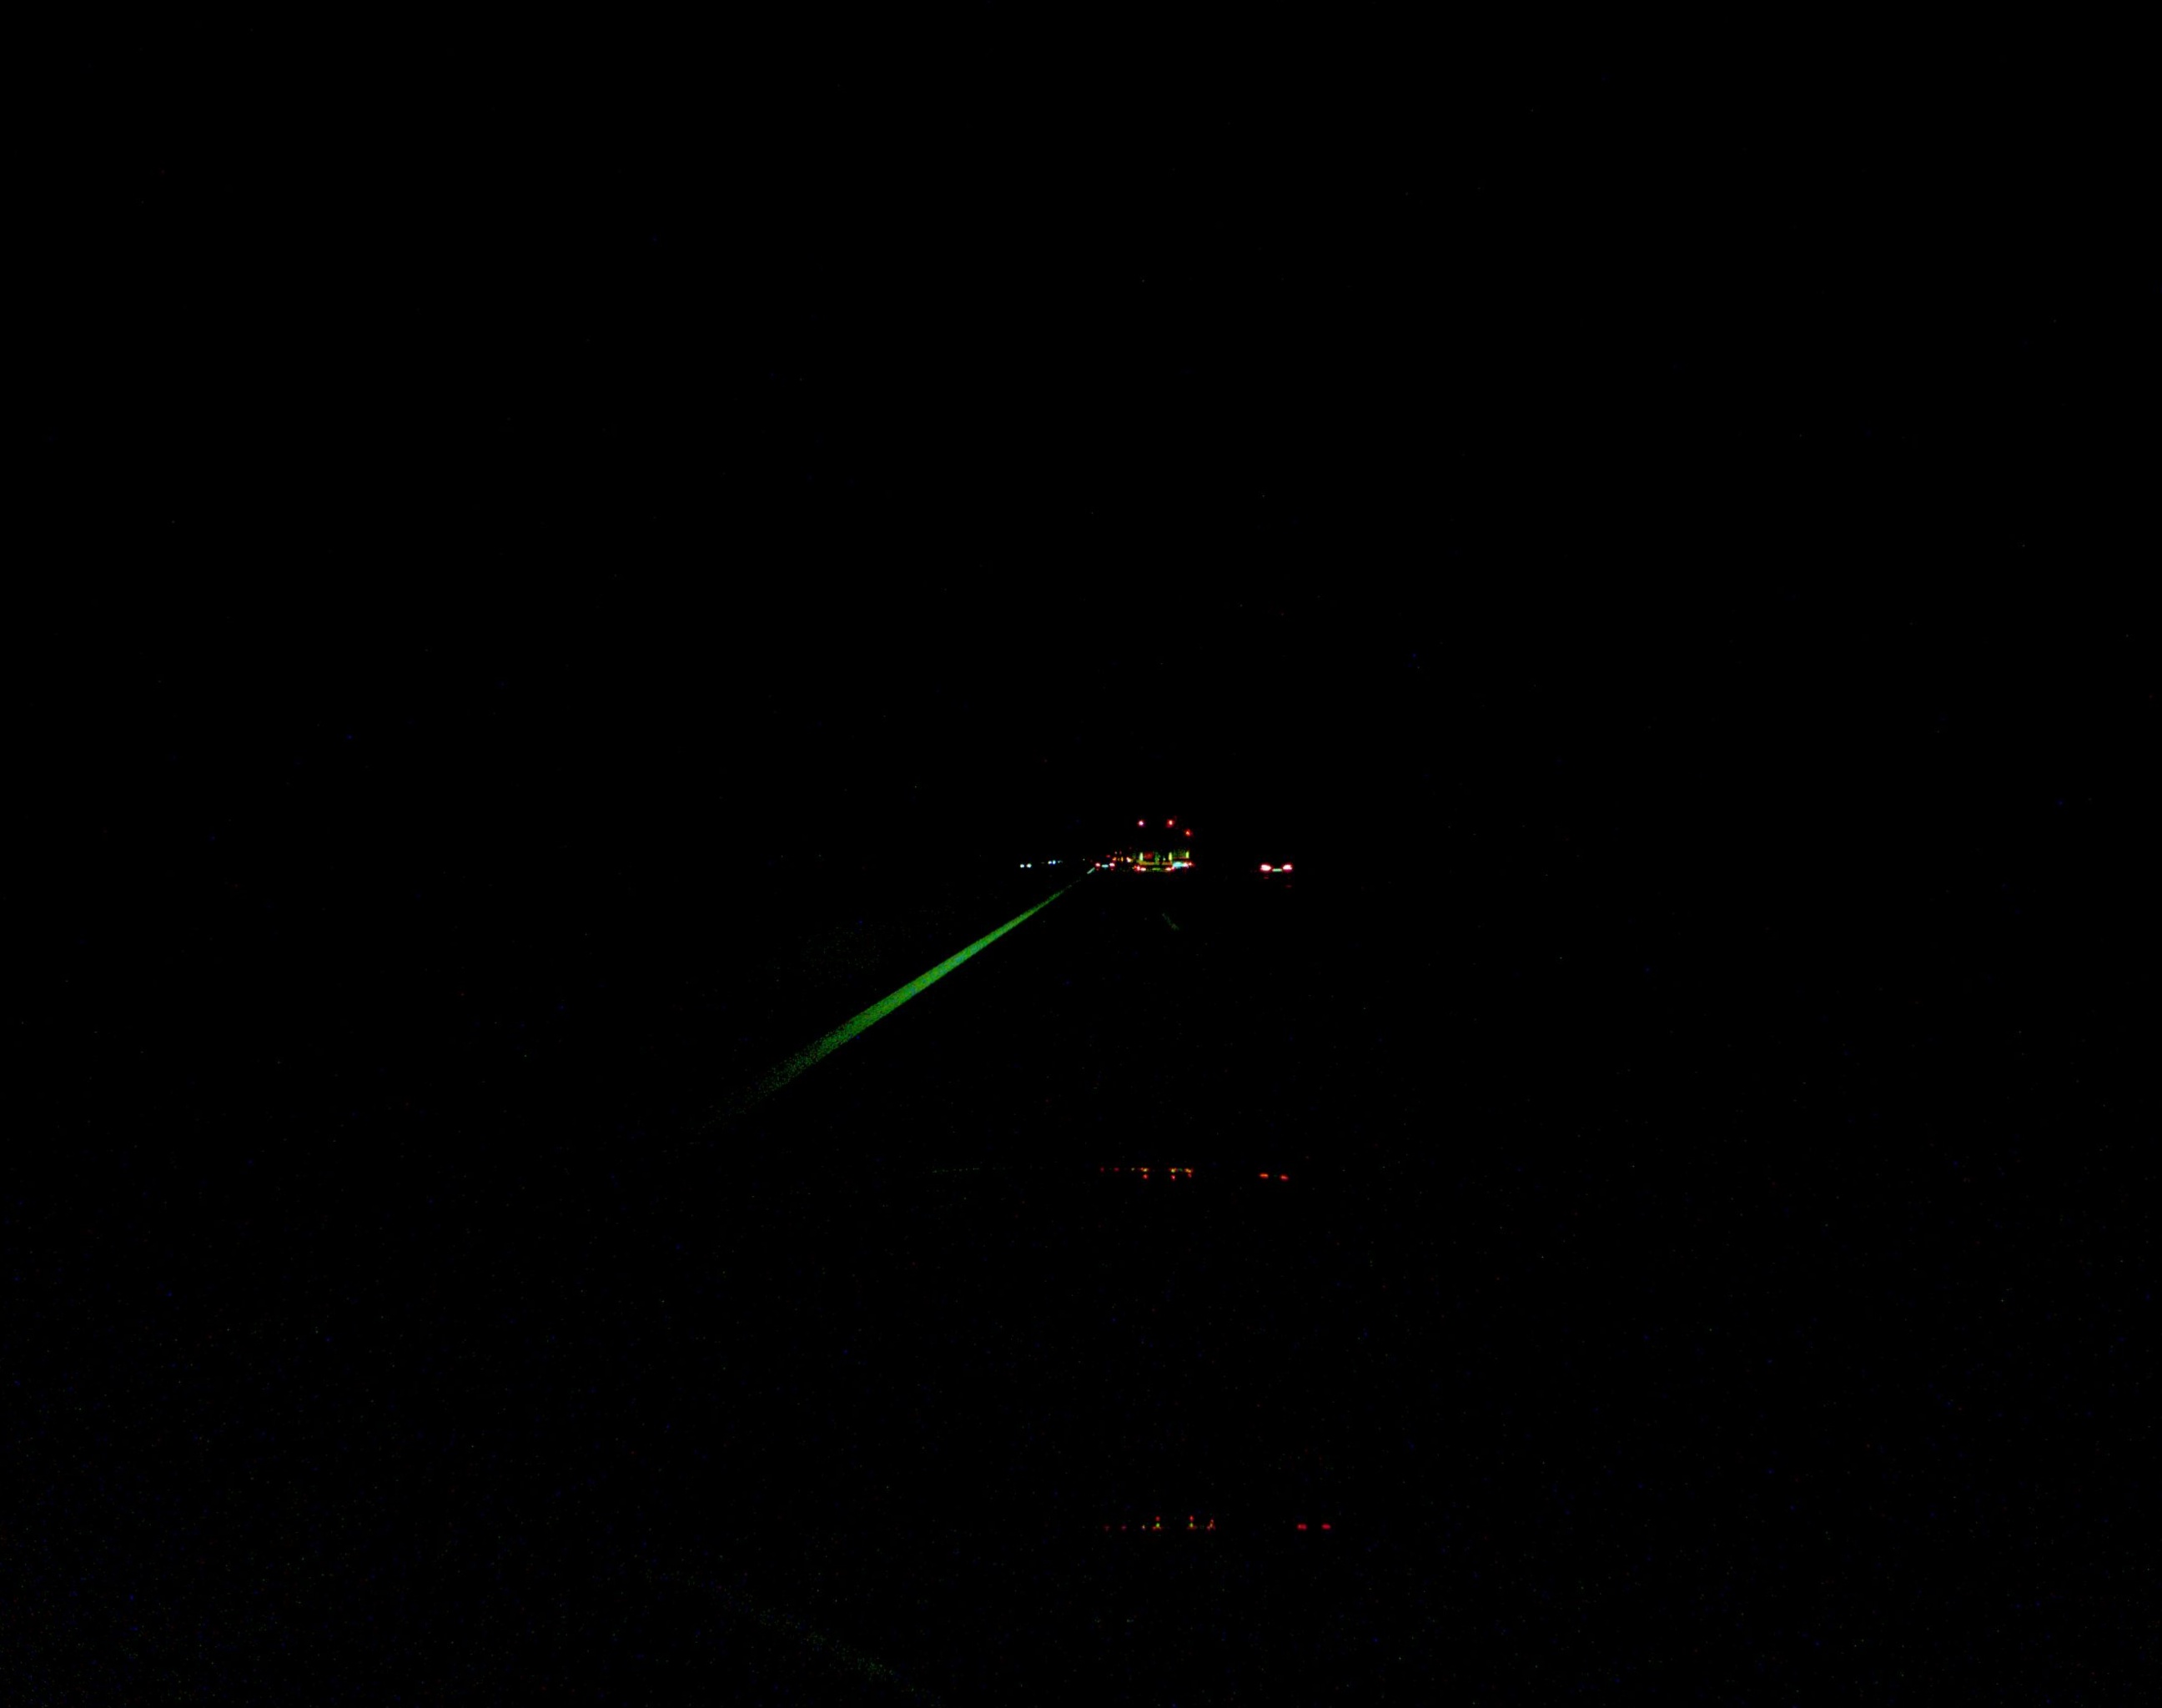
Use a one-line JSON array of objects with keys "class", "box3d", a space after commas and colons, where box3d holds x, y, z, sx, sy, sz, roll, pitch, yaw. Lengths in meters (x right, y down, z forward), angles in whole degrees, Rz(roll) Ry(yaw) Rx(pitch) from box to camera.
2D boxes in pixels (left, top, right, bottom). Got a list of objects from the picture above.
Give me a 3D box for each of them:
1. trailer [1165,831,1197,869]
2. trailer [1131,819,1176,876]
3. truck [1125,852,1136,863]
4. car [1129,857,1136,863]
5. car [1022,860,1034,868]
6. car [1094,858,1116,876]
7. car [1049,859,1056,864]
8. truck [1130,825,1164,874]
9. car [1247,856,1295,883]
[{"class": "trailer", "box3d": [11.159, -0.378, 91.436, 2.582, 4.072, 10.010, 0, 0, 1]}, {"class": "trailer", "box3d": [5.770, -0.444, 66.668, 2.732, 4.206, 13.512, 0, 0, 1]}, {"class": "truck", "box3d": [12.598, 0.935, 208.689, 2.071, 2.691, 7.301, 0, -3, -2]}, {"class": "car", "box3d": [11.520, 1.343, 183.492, 1.341, 1.387, 3.501, 0, 0, 0]}, {"class": "car", "box3d": [-10.203, 1.892, 155.915, 1.815, 1.466, 4.560, -5, 0, 0]}, {"class": "car", "box3d": [2.069, 1.107, 71.293, 1.815, 1.466, 4.247, 0, 0, 0]}, {"class": "car", "box3d": [-8.467, 2.343, 244.958, 1.744, 1.478, 4.943, -3, 0, 1]}, {"class": "truck", "box3d": [5.880, -0.382, 73.461, 2.652, 4.206, 6.723, 0, 0, 1]}, {"class": "car", "box3d": [10.526, 0.827, 45.374, 1.814, 1.466, 4.249, 0, 0, 2]}]
